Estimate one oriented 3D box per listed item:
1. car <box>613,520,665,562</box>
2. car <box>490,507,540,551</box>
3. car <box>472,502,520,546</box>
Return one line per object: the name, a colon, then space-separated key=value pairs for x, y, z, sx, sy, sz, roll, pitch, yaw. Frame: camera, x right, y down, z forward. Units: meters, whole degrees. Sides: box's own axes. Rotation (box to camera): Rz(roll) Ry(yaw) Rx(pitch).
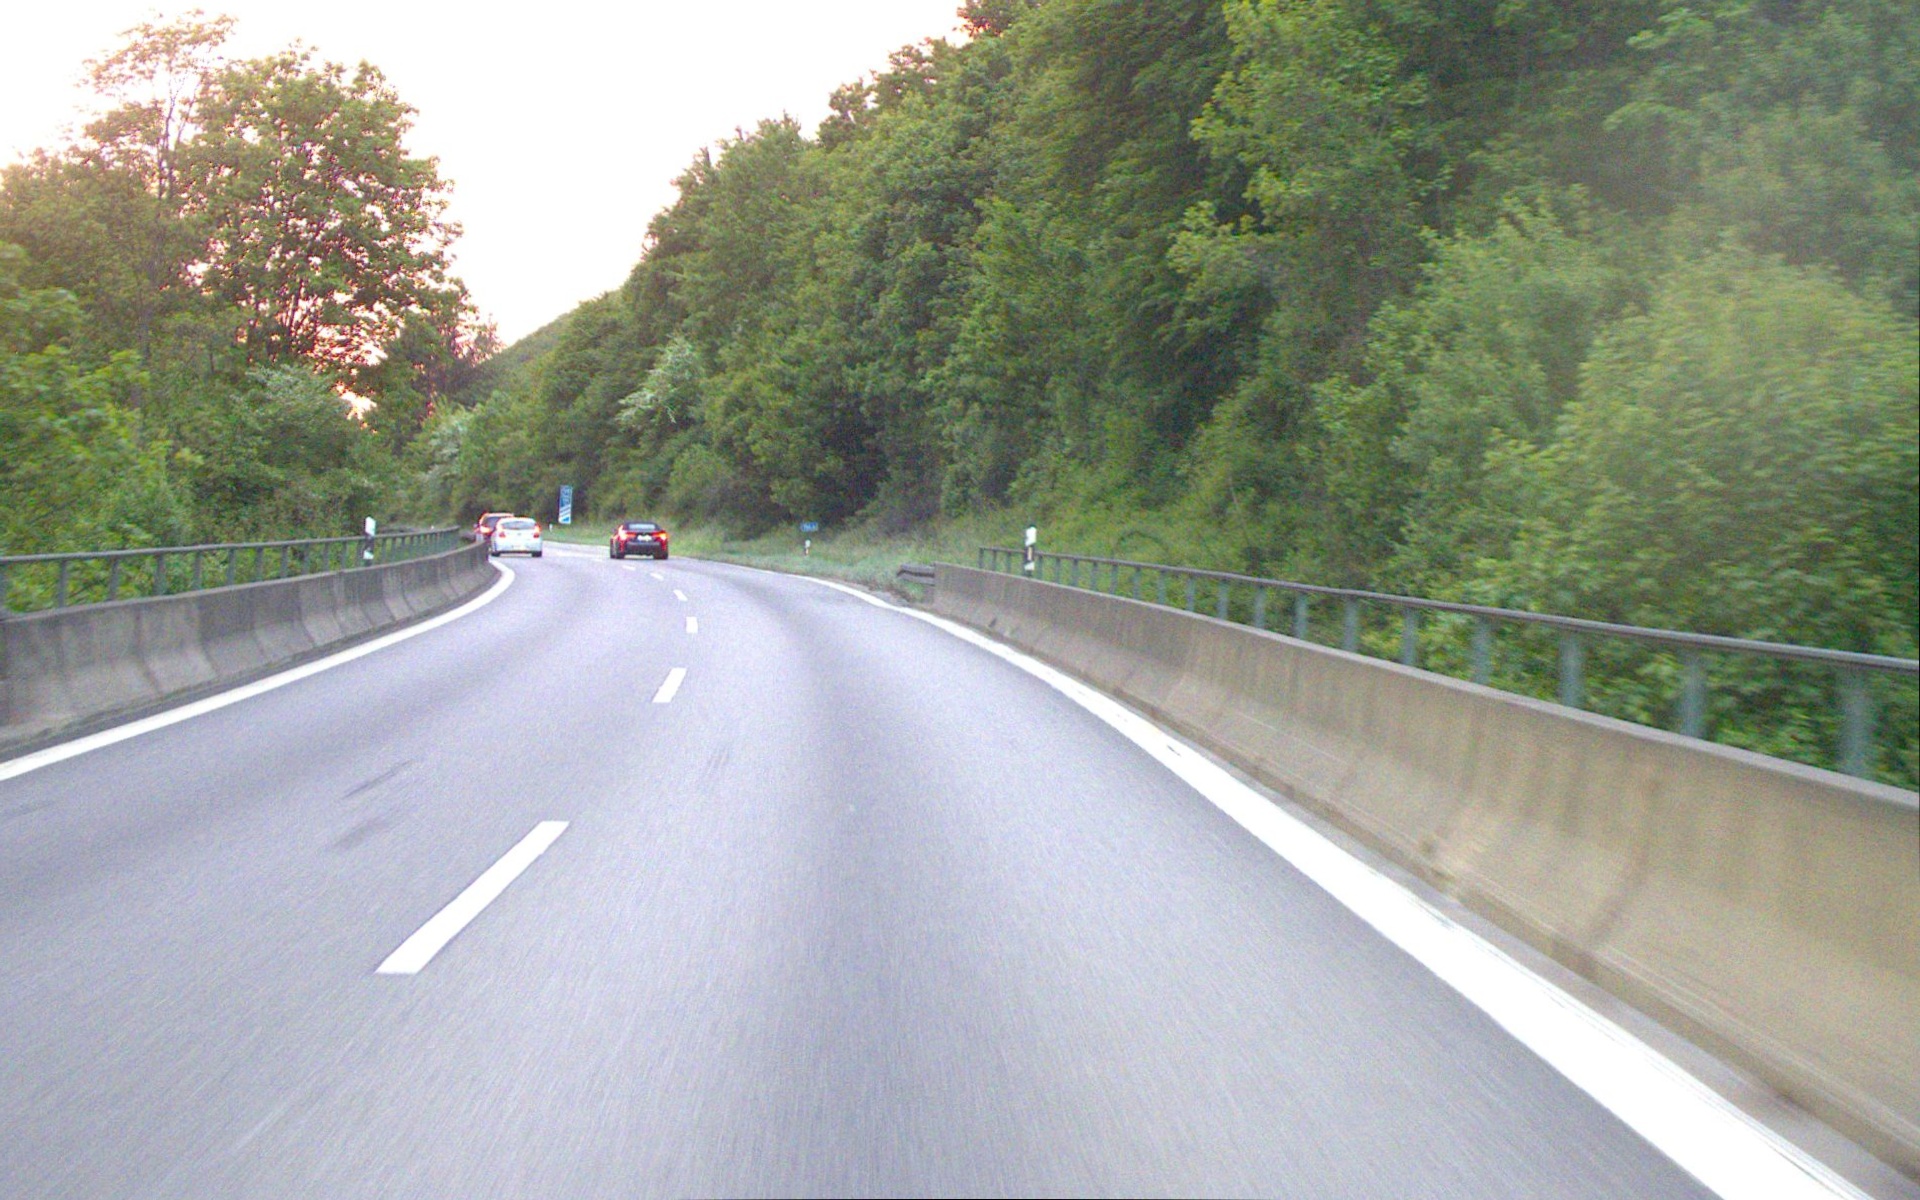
car: x=-11.751 y=-2.173 z=125.753 sx=1.878 sy=1.461 sz=4.001 roll=0 pitch=2 yaw=-6
car: x=-16.806 y=-2.669 z=129.973 sx=1.718 sy=1.496 sz=4.001 roll=2 pitch=-1 yaw=-6
car: x=-19.124 y=-3.109 z=141.842 sx=1.718 sy=1.629 sz=4.000 roll=-2 pitch=0 yaw=-5
